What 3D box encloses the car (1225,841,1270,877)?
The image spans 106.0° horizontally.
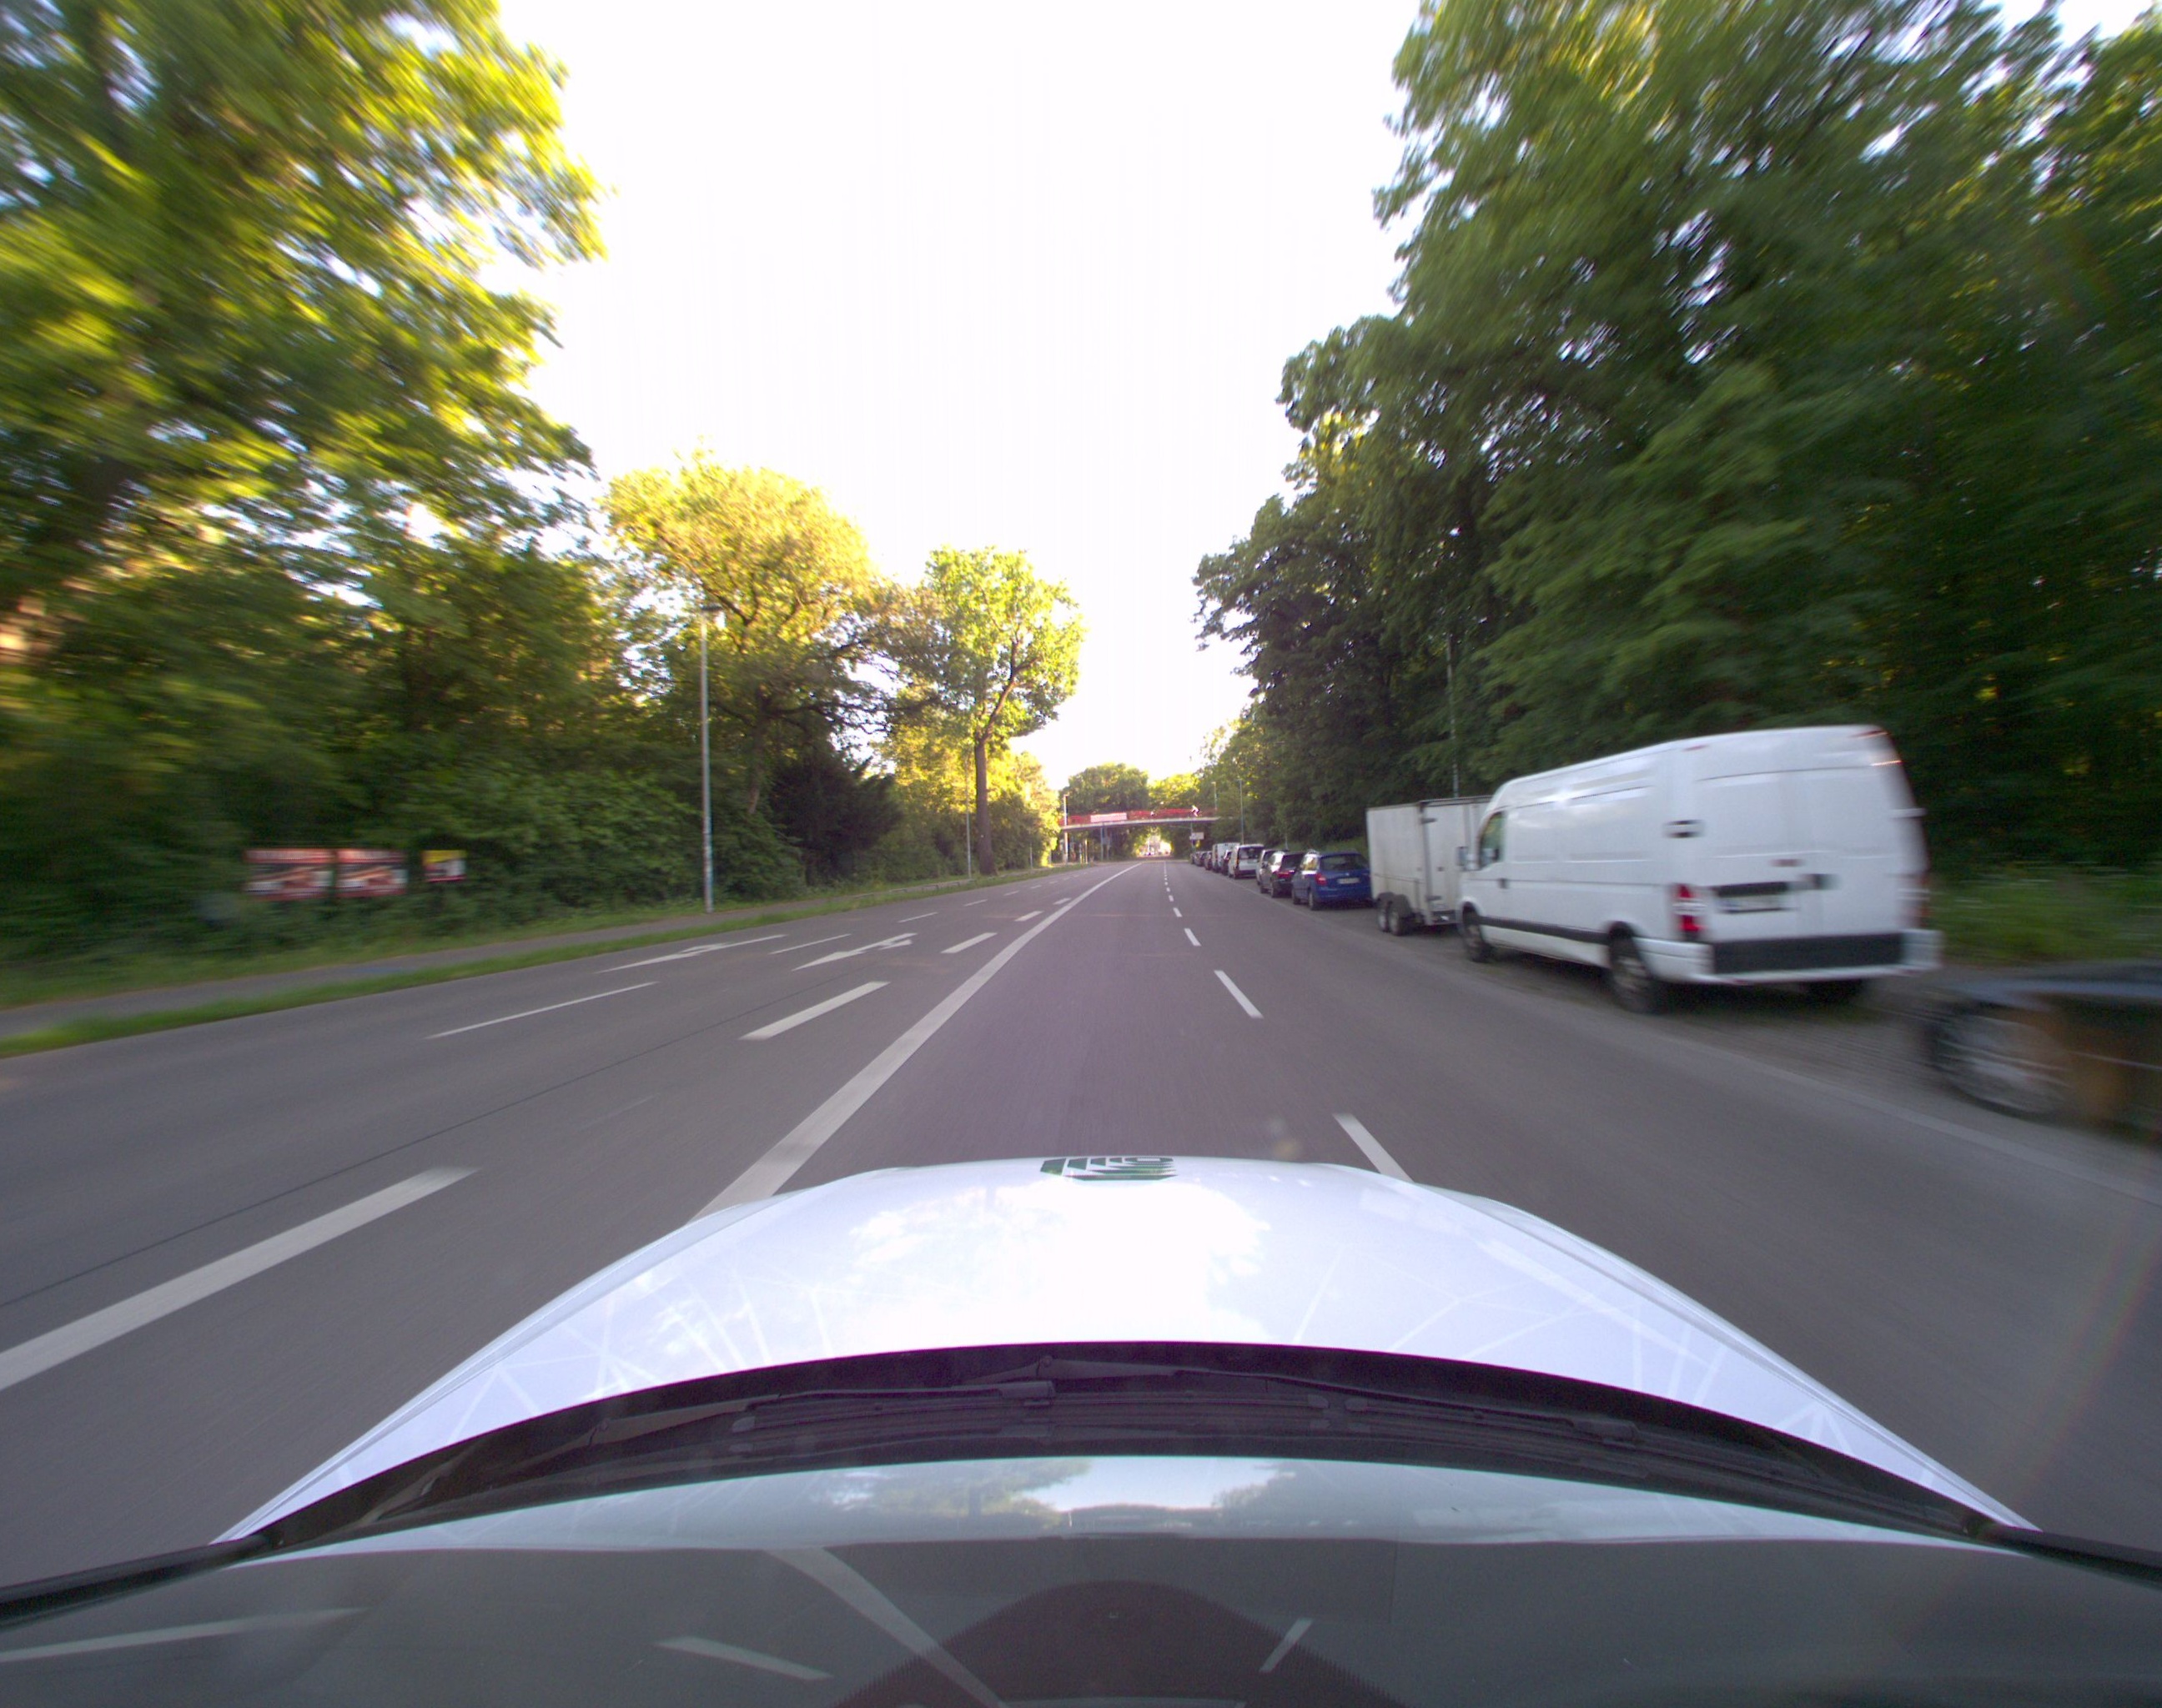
[{"bbox_3d":[9.039,0.255,44.492,1.751,1.804,4.743,-3,0,4],"label":"car"}]

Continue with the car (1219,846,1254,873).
[{"bbox_3d":[9.648,0.330,50.799,1.750,1.547,4.436,-3,0,6],"label":"car"}]

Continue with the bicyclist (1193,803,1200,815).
[{"bbox_3d":[15.822,-6.160,111.649,0.966,1.586,0.715,0,-1,4],"label":"bicyclist"}]

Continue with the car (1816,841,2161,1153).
[{"bbox_3d":[5.796,0.649,3.235,1.671,1.400,4.654,-3,0,3],"label":"car"}]

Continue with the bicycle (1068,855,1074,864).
[{"bbox_3d":[-1.346,0.738,110.041,0.708,1.147,1.996,0,-1,5],"label":"bicycle"}]

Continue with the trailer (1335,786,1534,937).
[{"bbox_3d":[6.654,0.132,16.076,1.896,2.423,5.132,-3,0,4],"label":"trailer"}]

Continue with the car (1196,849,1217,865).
[{"bbox_3d":[12.303,0.289,79.827,1.629,1.453,4.903,-3,0,4],"label":"car"}]

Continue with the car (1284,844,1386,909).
[{"bbox_3d":[6.796,0.561,22.269,1.670,1.535,4.358,-3,0,4],"label":"car"}]

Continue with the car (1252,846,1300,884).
[{"bbox_3d":[8.249,0.458,34.662,1.577,1.495,3.186,-3,0,7],"label":"car"}]

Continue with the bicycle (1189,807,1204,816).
[{"bbox_3d":[15.812,-5.826,111.643,1.978,1.147,0.715,0,-1,3],"label":"bicycle"}]

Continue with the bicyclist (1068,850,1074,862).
[{"bbox_3d":[-1.352,0.258,110.048,0.708,1.559,1.144,0,-1,5],"label":"bicyclist"}]

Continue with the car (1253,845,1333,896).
[{"bbox_3d":[7.171,0.520,28.034,1.751,1.535,4.995,-3,0,4],"label":"car"}]

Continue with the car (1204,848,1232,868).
[{"bbox_3d":[10.698,0.332,63.694,1.859,1.406,4.376,-3,0,6],"label":"car"}]

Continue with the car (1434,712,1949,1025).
[{"bbox_3d":[6.081,0.134,9.306,1.896,2.423,5.581,-3,0,4],"label":"car"}]

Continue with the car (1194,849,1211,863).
[{"bbox_3d":[13.844,0.252,92.611,1.764,1.453,4.024,-3,0,9],"label":"car"}]

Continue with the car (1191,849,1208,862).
[{"bbox_3d":[14.071,0.228,97.102,1.765,1.453,4.396,-3,0,6],"label":"car"}]

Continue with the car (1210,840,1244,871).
[{"bbox_3d":[10.198,0.121,57.111,1.859,1.981,5.484,-3,0,6],"label":"car"}]
